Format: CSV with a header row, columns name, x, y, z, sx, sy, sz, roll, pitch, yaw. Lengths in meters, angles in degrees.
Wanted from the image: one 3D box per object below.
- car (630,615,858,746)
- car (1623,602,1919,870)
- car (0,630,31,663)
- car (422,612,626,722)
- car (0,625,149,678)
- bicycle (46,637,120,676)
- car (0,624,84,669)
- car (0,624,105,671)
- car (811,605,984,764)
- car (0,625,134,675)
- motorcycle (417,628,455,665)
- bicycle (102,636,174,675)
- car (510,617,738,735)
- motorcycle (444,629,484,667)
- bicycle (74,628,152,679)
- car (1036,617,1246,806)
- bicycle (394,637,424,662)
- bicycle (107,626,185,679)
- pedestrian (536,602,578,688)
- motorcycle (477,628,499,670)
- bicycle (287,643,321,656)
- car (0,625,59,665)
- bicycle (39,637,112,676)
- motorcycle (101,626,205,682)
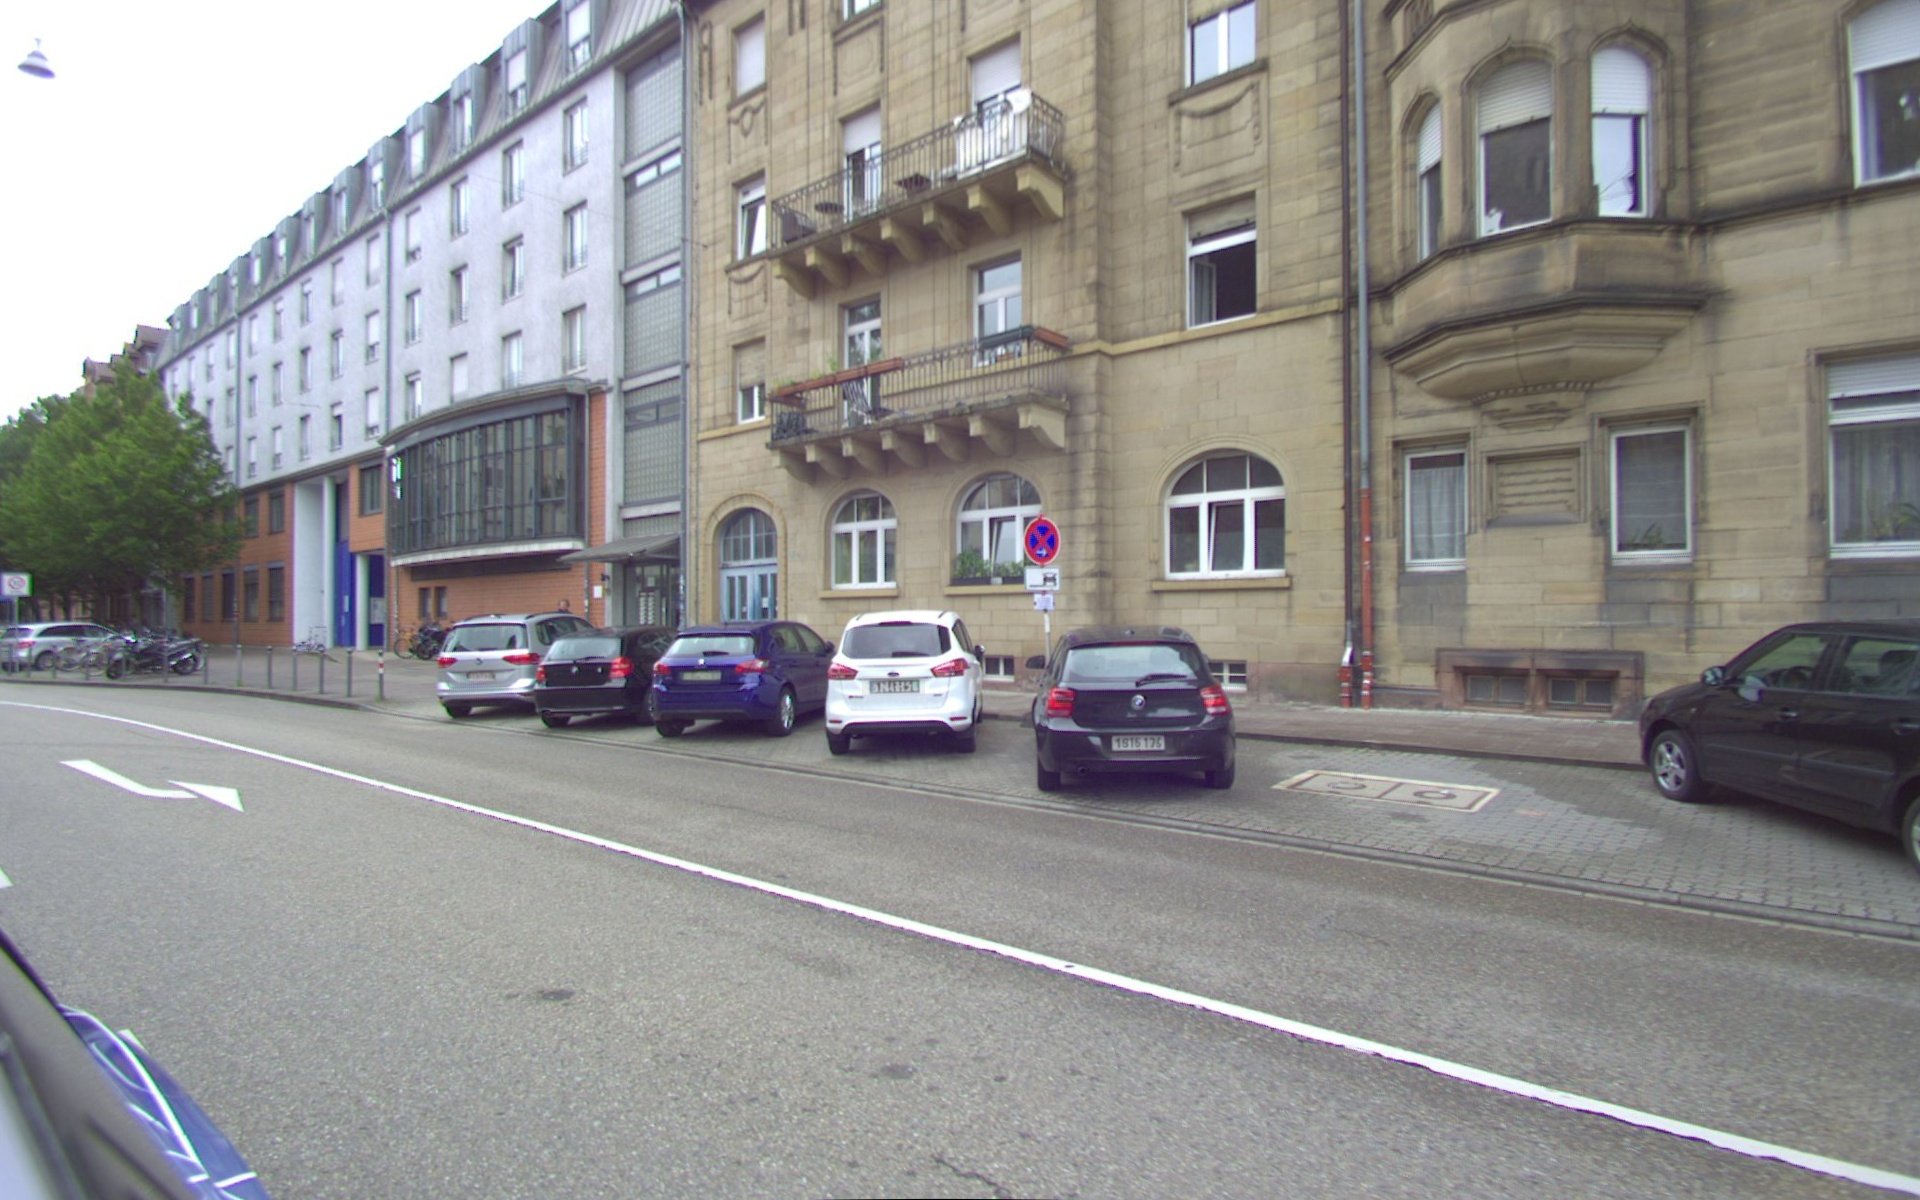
name,x,y,z,sx,sy,sz,roll,pitch,yaw
car,-2.831,1.018,14.142,1.804,1.456,3.736,-2,0,11
car,6.336,0.787,6.656,1.549,1.508,3.810,-1,0,2
car,-45.847,2.166,46.782,1.724,1.508,3.976,-1,-2,18
car,-7.392,1.064,17.620,1.710,1.565,3.998,-2,0,1
car,-29.455,1.637,33.320,1.758,1.641,3.976,-1,-2,18
bicycle,-26.232,1.675,30.288,0.416,1.082,1.609,-1,0,39
car,-36.316,1.756,38.591,1.983,1.641,3.976,-1,-2,18
car,-34.100,1.721,36.925,1.983,1.641,3.976,-1,-2,18
car,-0.608,0.895,12.579,1.681,1.565,3.997,-2,0,3
car,-31.460,1.681,35.066,1.983,1.641,3.976,-1,-2,18
motorcycle,-16.155,1.416,31.161,1.762,1.106,0.440,-2,-2,42
bicycle,-24.769,1.670,30.513,0.416,1.082,1.609,-1,0,39
car,-5.010,1.070,15.717,1.713,1.449,3.989,-2,0,9
motorcycle,-14.634,1.398,29.852,1.762,1.106,0.440,-2,-2,42
bicycle,-23.367,1.462,27.945,0.416,1.299,1.609,-1,0,39
car,1.619,0.924,10.095,1.641,1.428,3.994,-1,0,5
bicycle,-17.977,1.599,32.998,1.581,0.793,0.332,-2,-2,42
bicycle,-22.351,1.423,27.826,0.416,1.363,1.609,-1,0,39
pedestrian,-8.810,0.980,22.107,0.642,1.837,0.613,-2,-2,41
motorcycle,-13.122,1.342,28.114,0.438,1.106,1.768,1,-2,-29
bicycle,-24.813,1.863,38.281,0.527,0.440,0.997,1,-1,42
car,-40.787,1.882,42.503,1.983,1.641,3.976,-1,-2,18
bicycle,-26.682,1.679,30.548,0.416,1.082,1.609,-1,0,39
motorcycle,-21.640,1.425,27.164,0.599,1.363,2.096,-2,0,41
